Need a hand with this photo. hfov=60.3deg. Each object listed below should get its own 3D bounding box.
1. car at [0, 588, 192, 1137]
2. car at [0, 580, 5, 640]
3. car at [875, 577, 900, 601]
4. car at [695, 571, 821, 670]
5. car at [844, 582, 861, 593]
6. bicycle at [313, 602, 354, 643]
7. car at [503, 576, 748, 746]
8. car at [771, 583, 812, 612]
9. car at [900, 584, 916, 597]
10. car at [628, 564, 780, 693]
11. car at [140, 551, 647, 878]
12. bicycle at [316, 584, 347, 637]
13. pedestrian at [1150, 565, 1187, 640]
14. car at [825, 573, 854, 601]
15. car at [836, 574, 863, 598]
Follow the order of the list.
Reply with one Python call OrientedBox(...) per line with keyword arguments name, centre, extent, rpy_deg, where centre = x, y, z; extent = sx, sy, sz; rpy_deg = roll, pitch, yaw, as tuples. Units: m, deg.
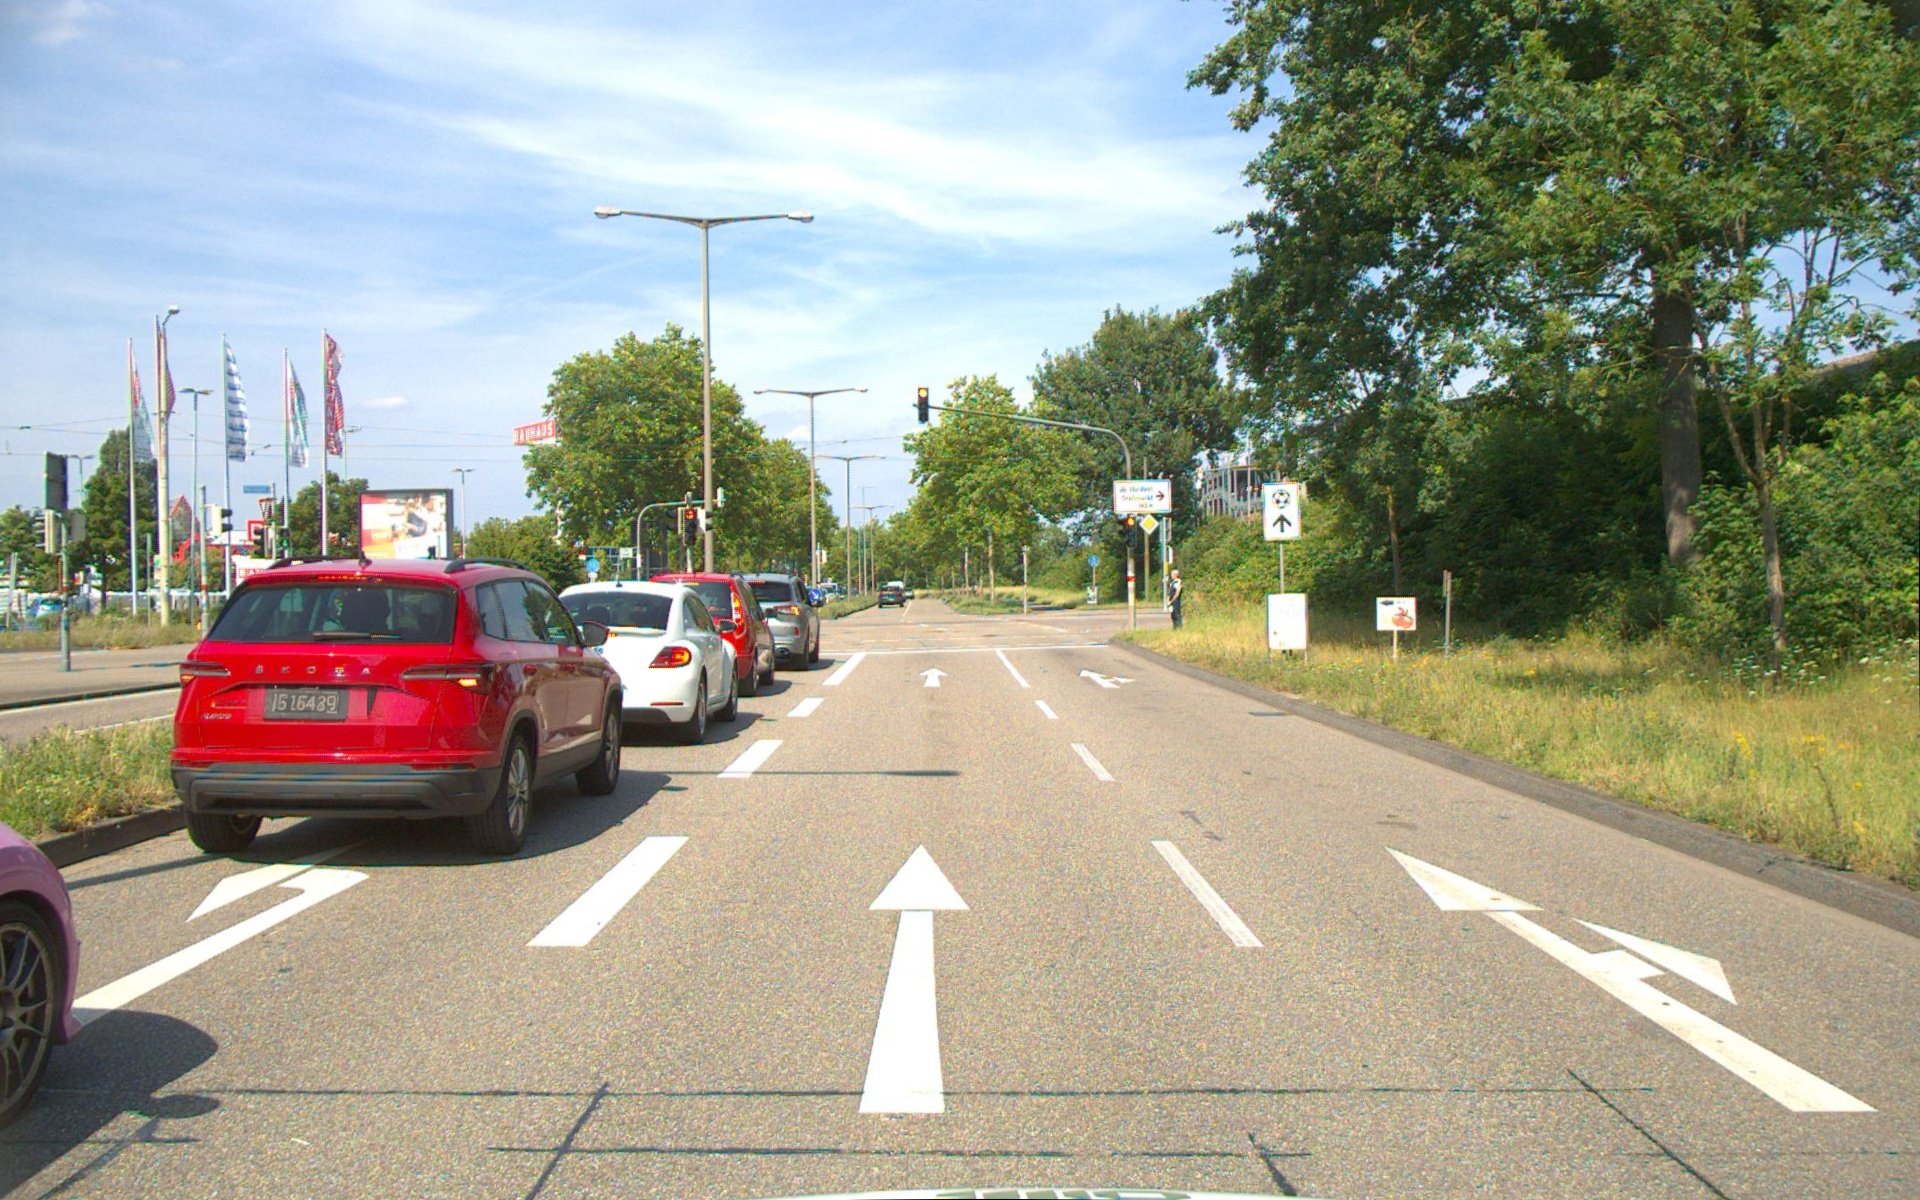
OrientedBox(name="car", centre=(-3.289, 0.691, 3.131), extent=(1.668, 1.414, 4.471), rpy_deg=(1, 1, -1))
OrientedBox(name="car", centre=(-43.548, 0.470, 72.347), extent=(1.985, 2.577, 4.563), rpy_deg=(-2, 1, -44))
OrientedBox(name="car", centre=(-5.297, -0.847, 121.723), extent=(1.701, 1.562, 4.001), rpy_deg=(0, 3, -1))
OrientedBox(name="car", centre=(-3.557, 0.320, 29.828), extent=(1.843, 1.646, 4.211), rpy_deg=(-1, 0, -2))
OrientedBox(name="car", centre=(-16.864, -1.942, 259.189), extent=(1.836, 1.724, 4.389), rpy_deg=(-1, 1, -17))
OrientedBox(name="bicycle", centre=(-20.258, 0.715, 53.510), extent=(0.659, 1.278, 2.244), rpy_deg=(-2, 0, -6))
OrientedBox(name="car", centre=(-3.237, 0.521, 16.779), extent=(1.730, 1.505, 4.134), rpy_deg=(0, 1, -2))
OrientedBox(name="car", centre=(-9.356, -0.172, 92.125), extent=(1.953, 1.527, 3.999), rpy_deg=(-1, 1, -2))
OrientedBox(name="car", centre=(-6.576, -1.249, 208.837), extent=(1.830, 1.601, 3.999), rpy_deg=(-2, 0, -1))
OrientedBox(name="car", centre=(-3.513, 0.380, 23.270), extent=(1.595, 1.623, 3.917), rpy_deg=(-1, 0, -1))
OrientedBox(name="car", centre=(-3.250, 0.541, 10.534), extent=(1.746, 1.620, 4.592), rpy_deg=(0, 1, -1))
OrientedBox(name="bicycle", centre=(-20.254, 0.333, 53.353), extent=(0.659, 1.643, 0.991), rpy_deg=(-2, 0, -6))
OrientedBox(name="pedestrian", centre=(5.535, 0.056, 43.940), extent=(0.821, 1.966, 0.771), rpy_deg=(-1, 2, -5))
OrientedBox(name="car", centre=(-8.759, -0.951, 120.577), extent=(1.953, 1.928, 4.374), rpy_deg=(-1, 1, -2))
OrientedBox(name="car", centre=(-9.112, -1.150, 136.499), extent=(1.953, 1.928, 4.375), rpy_deg=(-1, 1, -1))
